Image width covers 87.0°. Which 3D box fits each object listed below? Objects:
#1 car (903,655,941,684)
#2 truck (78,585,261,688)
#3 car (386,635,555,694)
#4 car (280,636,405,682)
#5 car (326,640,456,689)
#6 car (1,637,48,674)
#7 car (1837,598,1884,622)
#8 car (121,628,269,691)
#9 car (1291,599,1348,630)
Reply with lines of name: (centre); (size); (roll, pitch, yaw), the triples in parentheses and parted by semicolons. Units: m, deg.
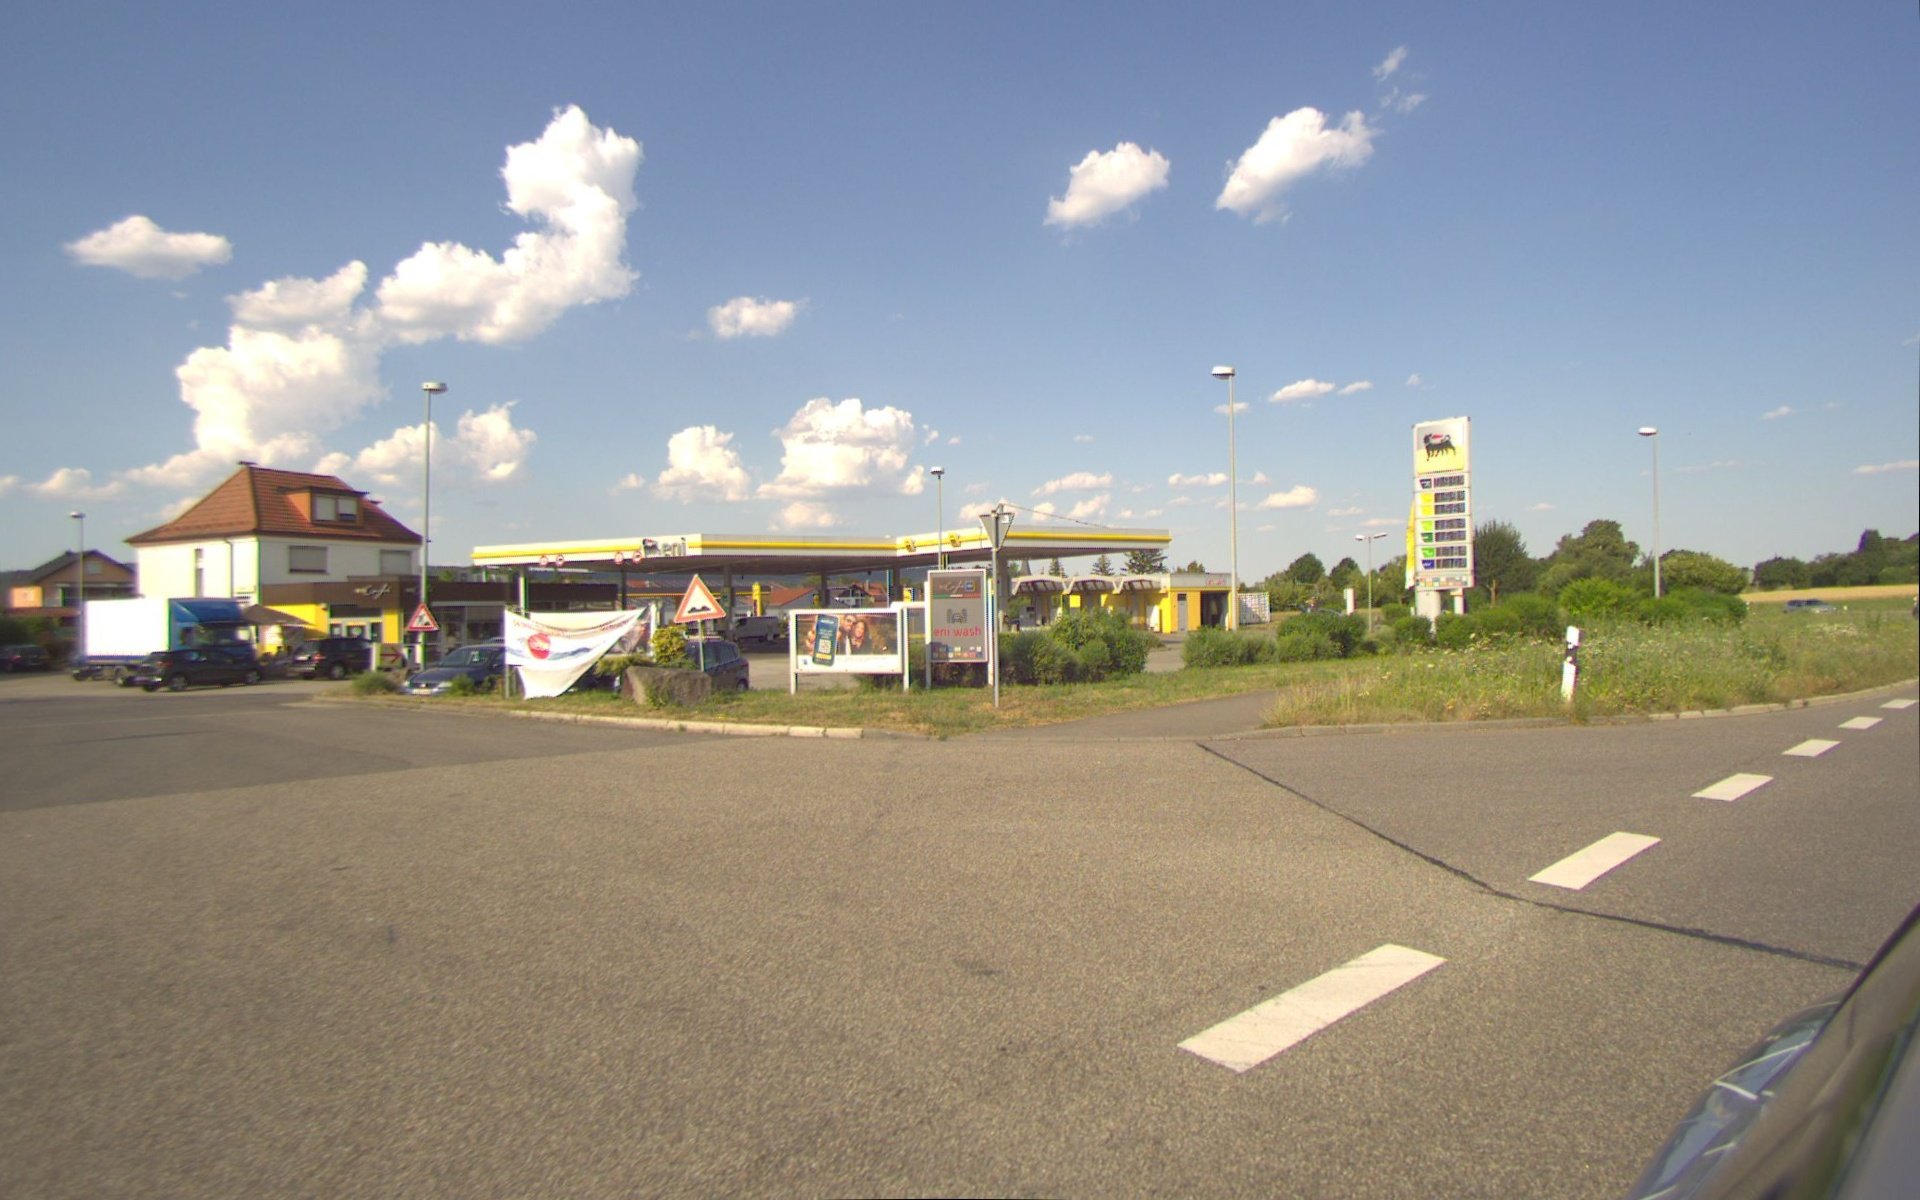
car: (-0.673, 1.234, 18.094); (0.595, 0.455, 1.082); (-3, -2, 1)
truck: (-32.449, 1.539, 41.453); (7.928, 3.736, 2.742); (-4, -2, 26)
car: (-11.707, 1.516, 24.493); (1.577, 1.217, 3.899); (-2, -1, 14)
car: (-25.908, 2.461, 42.640); (1.825, 1.656, 4.398); (-4, -2, 17)
car: (-14.182, 1.583, 25.367); (1.296, 1.051, 2.897); (-3, -2, 9)
car: (-50.751, 3.009, 54.889); (1.820, 1.823, 3.587); (-1, -3, -43)
car: (59.564, 0.665, 66.974); (1.507, 1.526, 2.728); (-4, -2, 25)
car: (-28.132, 2.146, 37.370); (1.747, 2.040, 4.060); (-4, -2, 20)
car: (27.441, 1.117, 77.243); (3.663, 2.142, 1.898); (-4, -2, 34)
